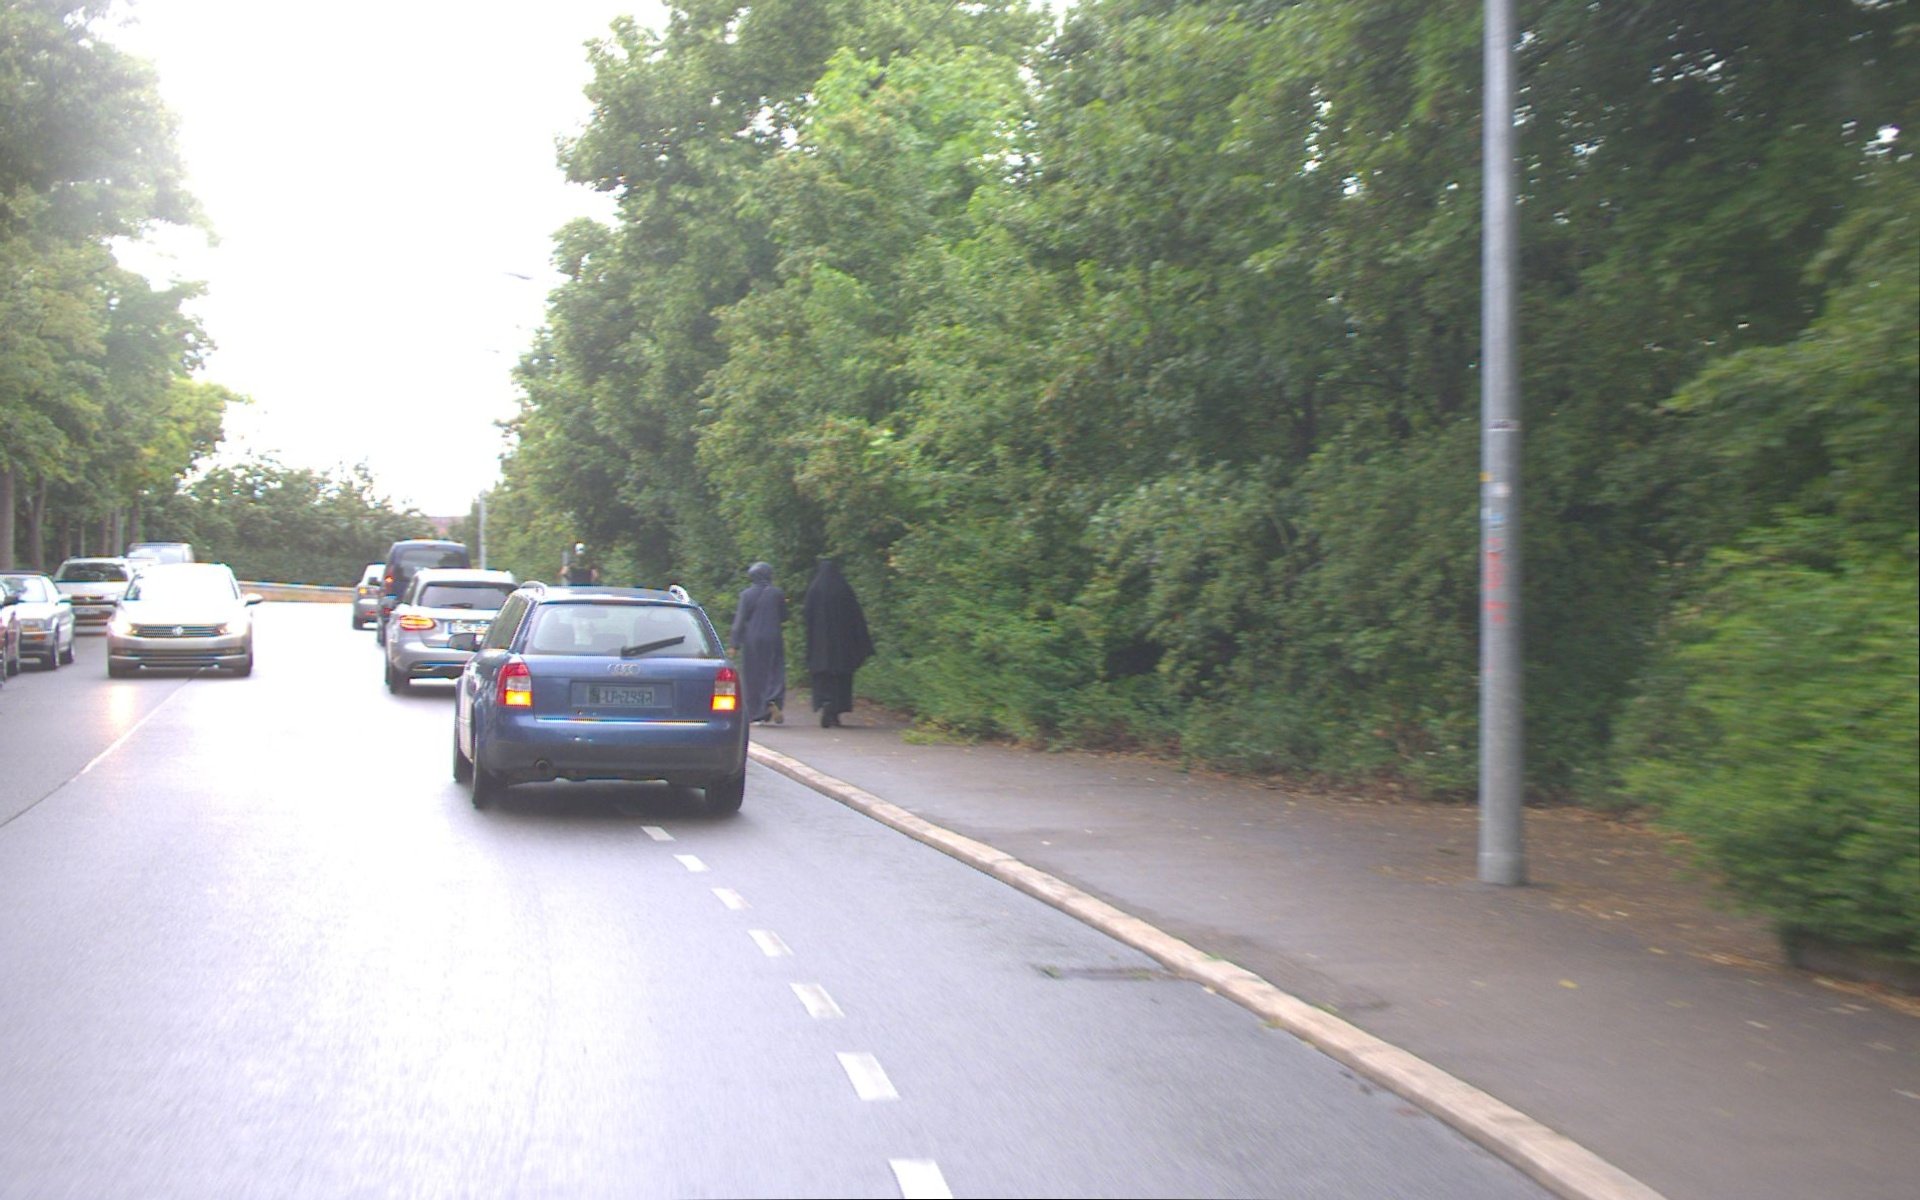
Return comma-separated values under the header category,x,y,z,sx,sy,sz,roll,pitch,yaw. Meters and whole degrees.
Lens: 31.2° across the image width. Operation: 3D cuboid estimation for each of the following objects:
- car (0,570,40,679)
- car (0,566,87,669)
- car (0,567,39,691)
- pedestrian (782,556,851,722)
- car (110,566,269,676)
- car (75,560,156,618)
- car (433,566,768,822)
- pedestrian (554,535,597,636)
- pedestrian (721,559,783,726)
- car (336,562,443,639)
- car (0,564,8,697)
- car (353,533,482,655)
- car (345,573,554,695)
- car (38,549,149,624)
category,x,y,z,sx,sy,sz,roll,pitch,yaw
car,-12.812,0.298,44.457,1.594,1.357,4.002,0,0,-13
car,-13.496,0.227,48.983,1.754,1.397,4.420,0,0,-10
car,-12.017,0.343,39.887,1.993,1.400,4.715,-1,0,-8
pedestrian,-1.363,0.364,32.589,0.595,1.561,0.669,1,0,-6
car,-10.227,0.256,45.856,1.882,1.397,4.257,0,0,-10
car,-21.459,-0.281,87.474,1.797,1.432,4.257,0,0,-11
car,-2.494,0.564,23.013,1.746,1.402,4.002,2,2,-12
pedestrian,-7.126,-0.274,63.739,0.716,1.828,1.021,-1,1,-8
pedestrian,-1.964,0.393,32.469,0.552,1.561,0.487,-1,0,-5
car,-12.498,0.001,75.178,1.821,1.611,3.786,0,0,-17
car,-10.899,0.344,34.467,1.993,1.400,4.715,-1,0,-8
car,-9.558,-0.075,60.348,1.788,1.947,4.001,-3,-1,-14
car,-6.162,0.381,41.154,1.890,1.384,4.001,0,0,-17
car,-17.059,-0.267,67.793,1.688,1.432,4.257,0,0,-8
